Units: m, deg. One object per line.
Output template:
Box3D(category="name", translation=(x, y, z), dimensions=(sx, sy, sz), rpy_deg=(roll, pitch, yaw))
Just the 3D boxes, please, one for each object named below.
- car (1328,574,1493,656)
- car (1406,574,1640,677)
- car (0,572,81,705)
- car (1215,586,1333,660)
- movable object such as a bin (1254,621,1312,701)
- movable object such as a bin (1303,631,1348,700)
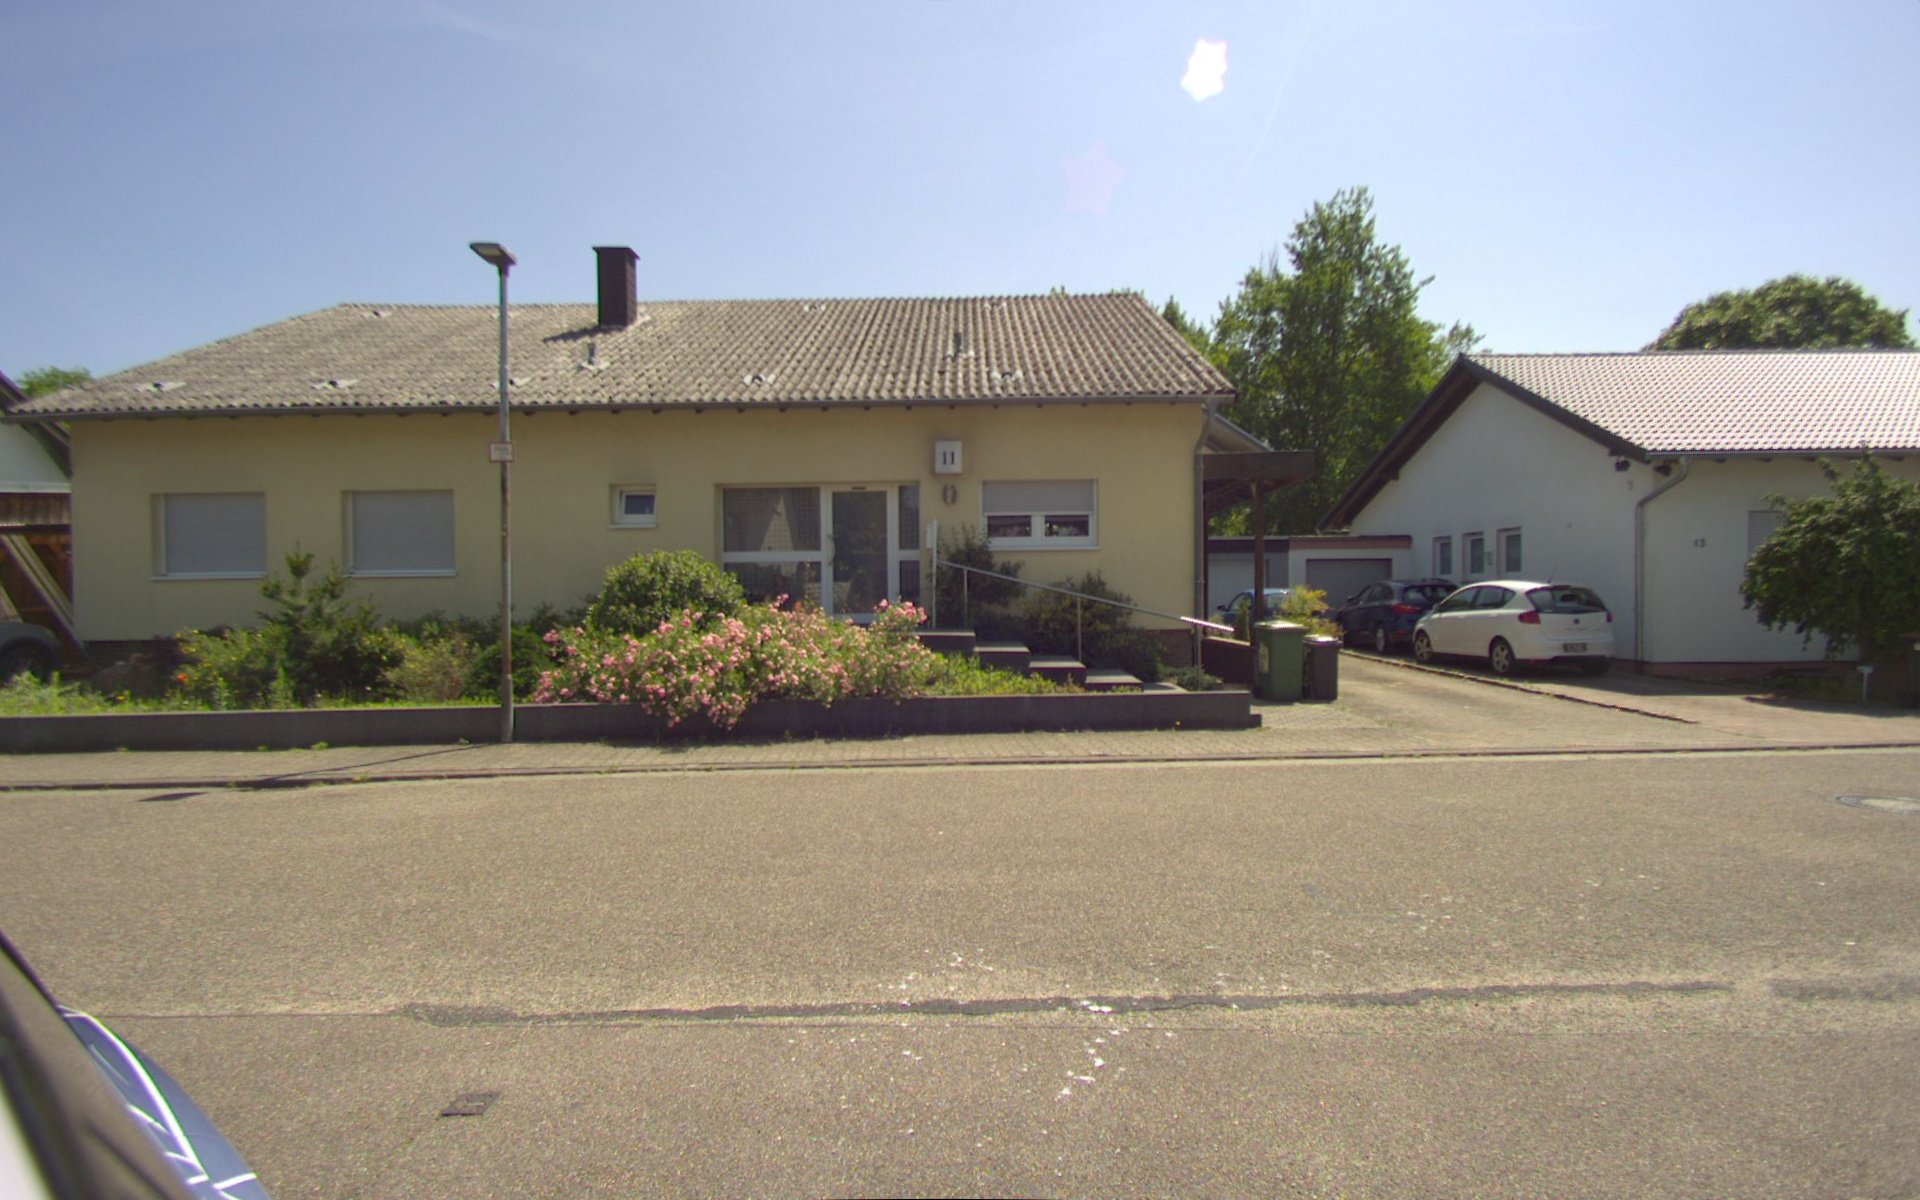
Box3D(category="car", translation=(9.840, 0.267, 22.485), dimensions=(1.902, 1.620, 3.999), rpy_deg=(-1, 1, 1))
Box3D(category="car", translation=(9.668, 0.376, 17.800), dimensions=(1.726, 1.580, 4.002), rpy_deg=(-1, 1, -3))
Box3D(category="car", translation=(-13.328, 0.547, 11.941), dimensions=(1.687, 1.715, 4.638), rpy_deg=(-1, 2, 3))
Box3D(category="car", translation=(6.791, 0.444, 22.205), dimensions=(1.597, 1.466, 3.254), rpy_deg=(0, 1, 0))
Box3D(category="movable object such as a bin", translation=(4.383, 0.819, 13.748), dimensions=(0.583, 1.049, 0.492), rpy_deg=(-1, 0, -7))
Box3D(category="movable object such as a bin", translation=(4.957, 0.877, 13.731), dimensions=(0.401, 0.898, 0.427), rpy_deg=(-1, 0, -7))
